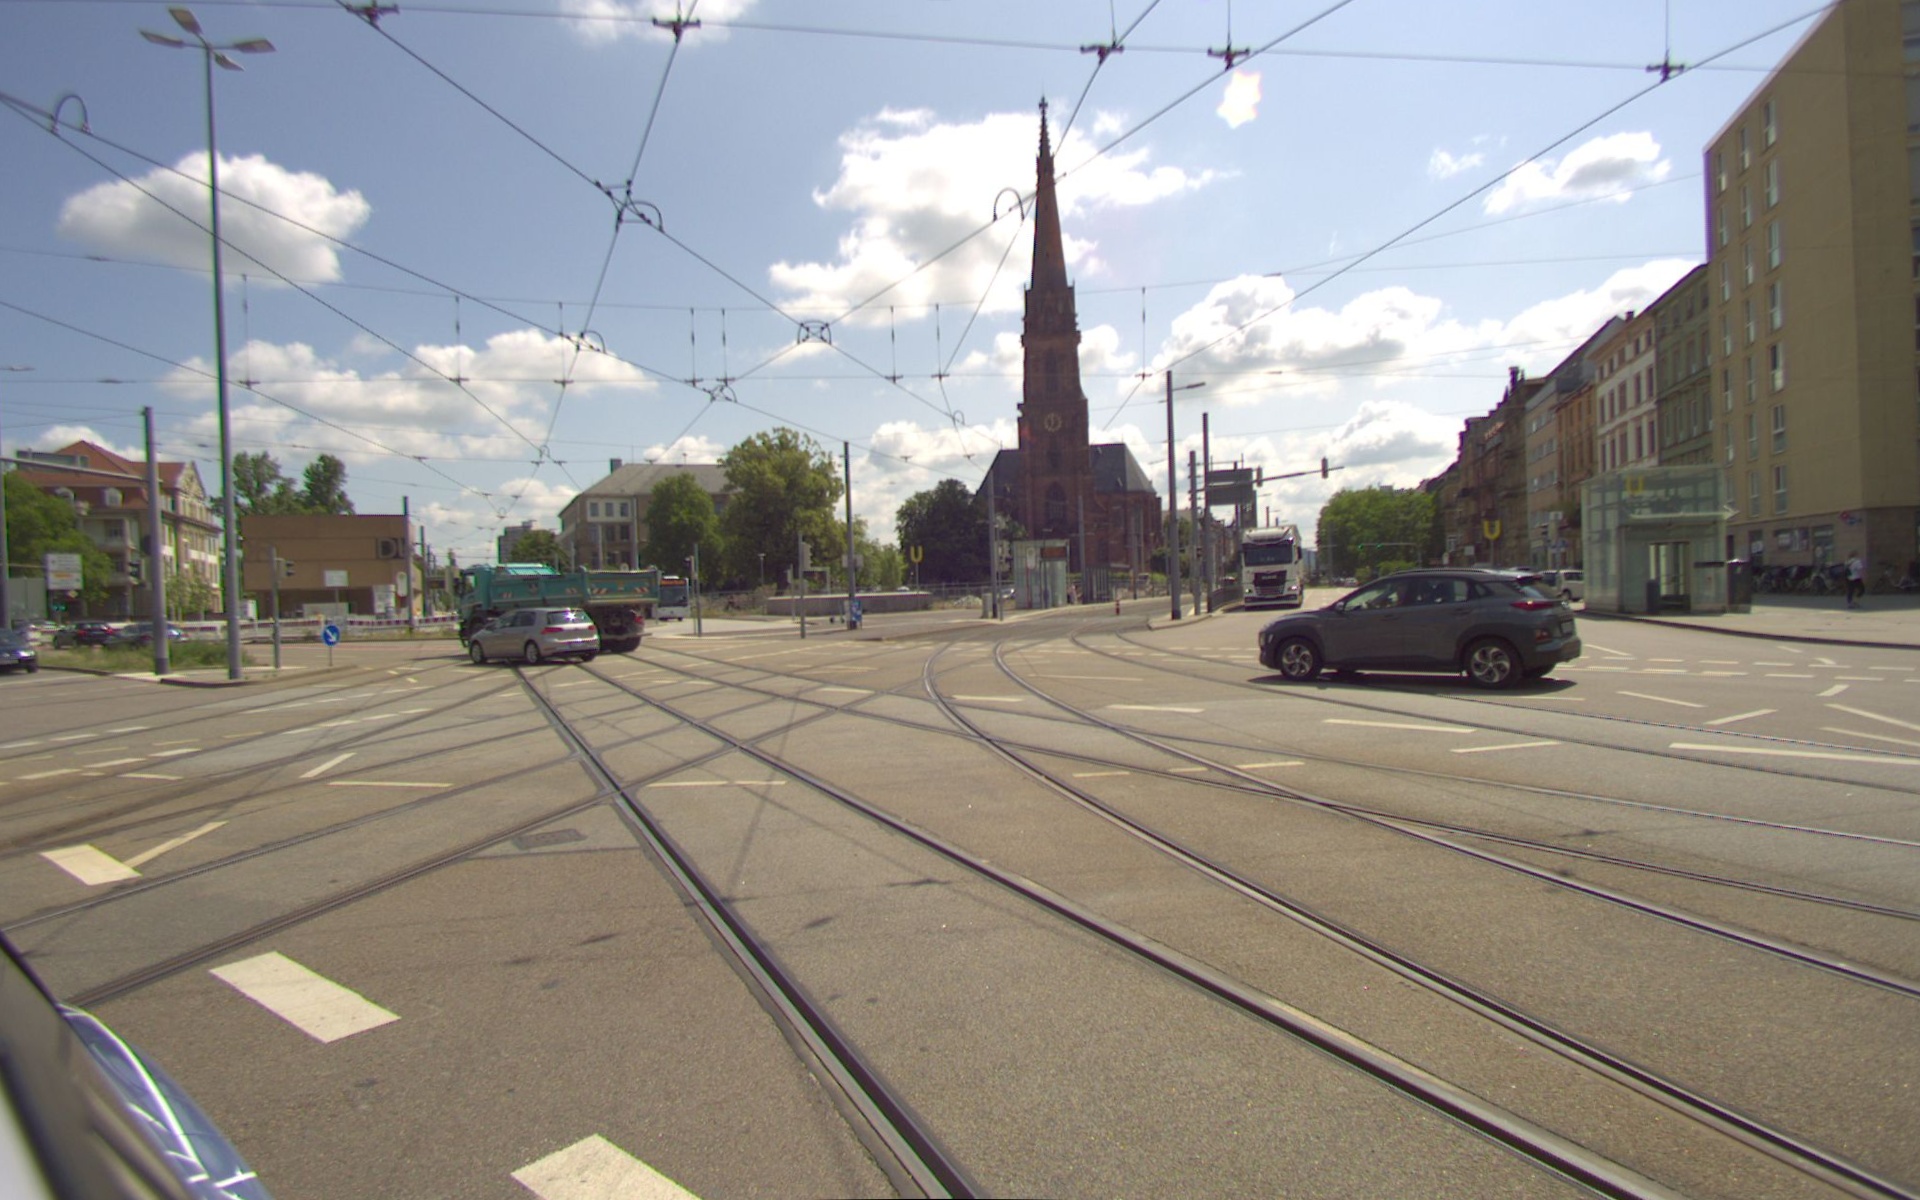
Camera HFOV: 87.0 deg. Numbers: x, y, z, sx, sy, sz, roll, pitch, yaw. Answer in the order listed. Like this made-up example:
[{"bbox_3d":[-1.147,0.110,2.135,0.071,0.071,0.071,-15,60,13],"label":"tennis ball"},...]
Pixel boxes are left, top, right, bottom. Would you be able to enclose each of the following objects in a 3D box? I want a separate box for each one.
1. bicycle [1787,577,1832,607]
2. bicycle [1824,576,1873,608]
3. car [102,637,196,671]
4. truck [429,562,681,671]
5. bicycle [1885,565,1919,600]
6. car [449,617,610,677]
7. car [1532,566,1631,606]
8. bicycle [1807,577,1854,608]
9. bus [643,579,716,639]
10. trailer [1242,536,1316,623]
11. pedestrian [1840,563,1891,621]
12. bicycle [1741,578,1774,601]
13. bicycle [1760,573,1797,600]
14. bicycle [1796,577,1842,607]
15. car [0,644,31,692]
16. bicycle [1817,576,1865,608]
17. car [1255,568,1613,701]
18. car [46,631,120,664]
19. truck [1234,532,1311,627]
[{"bbox_3d":[34.336,-0.313,40.934,1.263,1.154,0.456,-2,0,18],"label":"bicycle"},{"bbox_3d":[33.484,-0.290,38.162,1.263,1.154,0.456,-2,0,18],"label":"bicycle"},{"bbox_3d":[-33.596,2.237,41.907,3.925,1.241,1.807,-2,0,32],"label":"car"},{"bbox_3d":[-12.942,0.566,31.937,8.719,3.021,3.315,-2,0,37],"label":"truck"},{"bbox_3d":[35.255,-0.655,37.325,1.591,1.274,0.490,-2,0,22],"label":"bicycle"},{"bbox_3d":[-11.347,1.226,26.589,4.329,1.426,1.833,-2,-1,34],"label":"car"},{"bbox_3d":[28.639,-0.642,46.655,4.101,1.655,1.635,-2,0,-20],"label":"car"},{"bbox_3d":[33.881,-0.302,39.420,1.263,1.154,0.456,-2,0,18],"label":"bicycle"},{"bbox_3d":[-18.091,0.577,64.809,2.901,3.473,7.973,-2,0,-27],"label":"bus"},{"bbox_3d":[17.634,-1.056,55.256,2.928,4.107,13.326,-2,0,21],"label":"trailer"},{"bbox_3d":[25.406,-0.214,28.403,0.876,1.572,0.717,-2,0,30],"label":"pedestrian"},{"bbox_3d":[35.387,-0.463,44.907,1.056,0.945,0.376,-2,0,18],"label":"bicycle"},{"bbox_3d":[34.899,-0.585,43.137,1.151,1.082,0.306,-2,0,18],"label":"bicycle"},{"bbox_3d":[34.162,-0.306,40.250,1.263,1.154,0.456,-2,0,18],"label":"bicycle"},{"bbox_3d":[-30.417,2.132,31.608,3.913,1.386,1.650,-2,0,41],"label":"car"},{"bbox_3d":[33.671,-0.293,38.706,1.263,1.154,0.456,-2,0,18],"label":"bicycle"},{"bbox_3d":[6.431,0.452,14.052,1.788,1.572,4.111,-1,-1,-44],"label":"car"},{"bbox_3d":[-49.878,2.685,57.542,3.984,1.696,1.980,-2,0,30],"label":"car"},{"bbox_3d":[15.209,-0.941,48.874,2.943,4.149,6.830,-2,0,21],"label":"truck"}]
